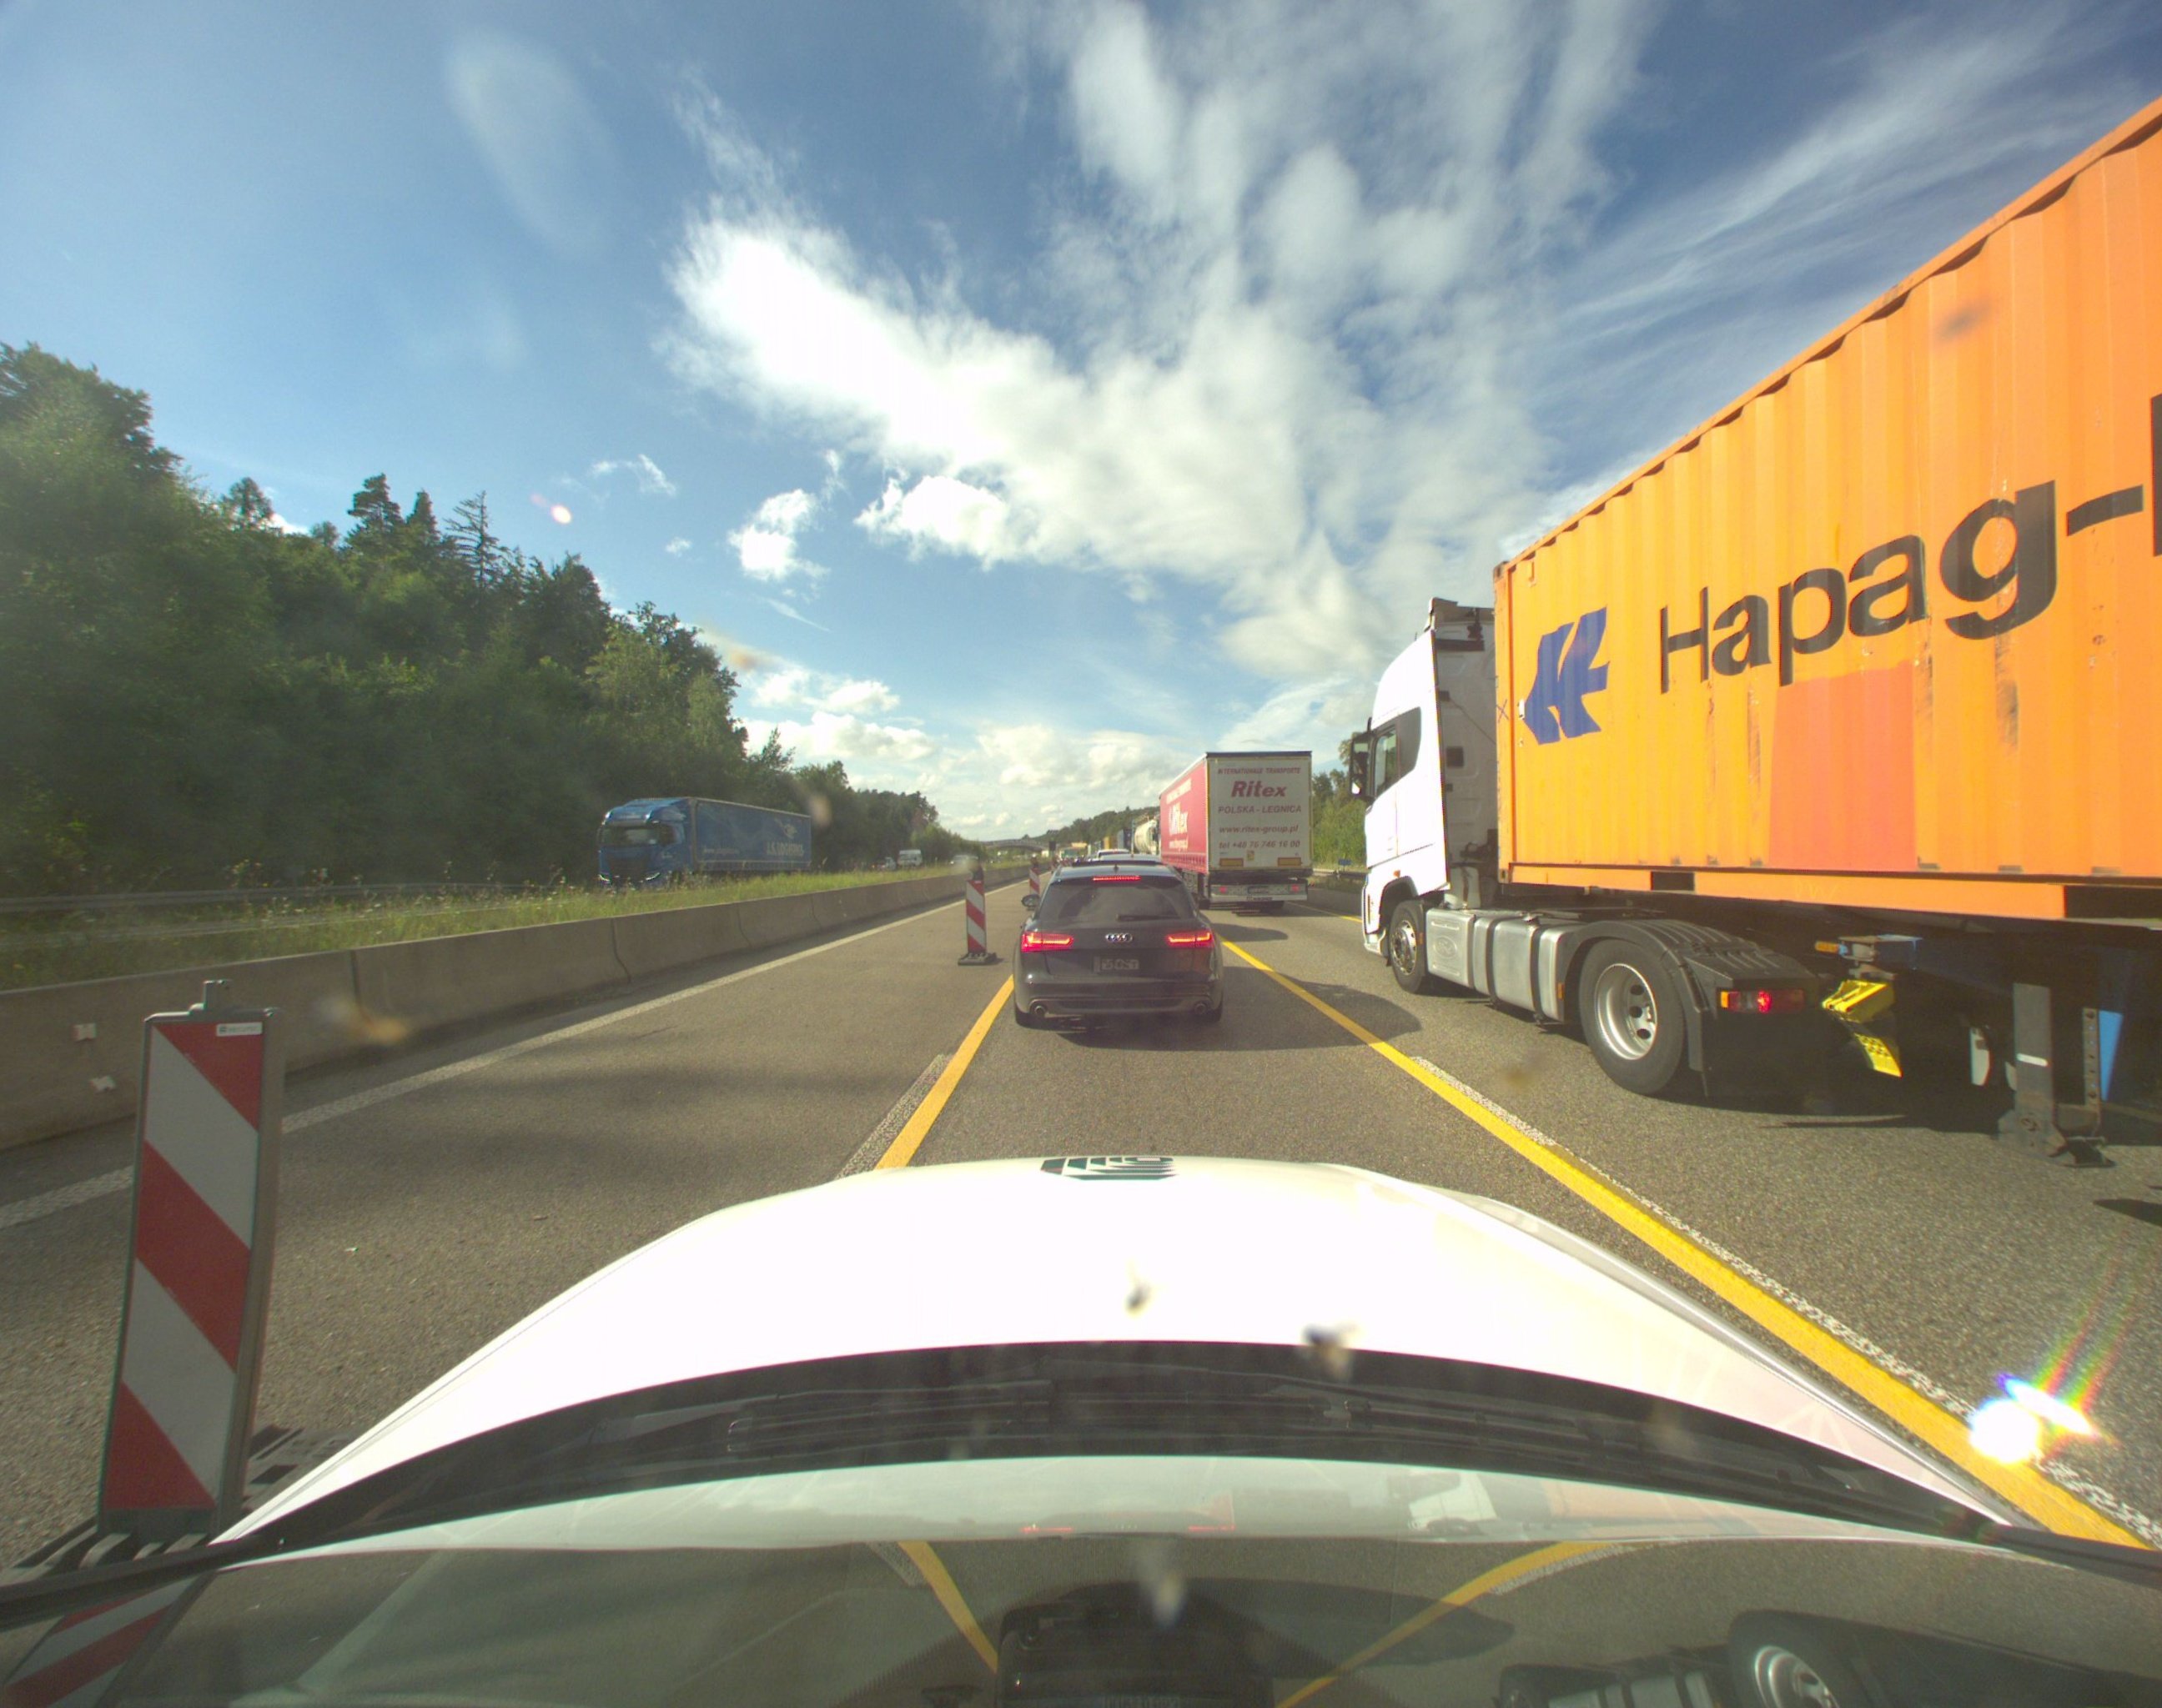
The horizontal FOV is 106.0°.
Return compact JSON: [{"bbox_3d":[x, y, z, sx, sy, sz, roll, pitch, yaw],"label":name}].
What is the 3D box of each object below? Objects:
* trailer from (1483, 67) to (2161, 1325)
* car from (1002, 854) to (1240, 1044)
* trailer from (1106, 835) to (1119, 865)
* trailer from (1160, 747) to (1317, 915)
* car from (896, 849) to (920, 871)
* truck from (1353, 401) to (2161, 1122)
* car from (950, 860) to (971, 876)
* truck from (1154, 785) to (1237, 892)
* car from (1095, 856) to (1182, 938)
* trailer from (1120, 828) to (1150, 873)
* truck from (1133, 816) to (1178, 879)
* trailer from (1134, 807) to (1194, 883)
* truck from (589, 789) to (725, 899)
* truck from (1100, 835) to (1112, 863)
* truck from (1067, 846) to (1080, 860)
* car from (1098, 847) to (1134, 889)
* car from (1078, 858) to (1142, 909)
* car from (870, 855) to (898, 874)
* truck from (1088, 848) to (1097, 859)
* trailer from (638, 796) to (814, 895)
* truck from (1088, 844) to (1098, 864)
[{"bbox_3d":[4.441,-0.481,0.611,2.462,3.775,12.138,-1,0,1],"label":"trailer"},{"bbox_3d":[0.375,0.764,8.384,1.842,1.463,4.001,-1,-1,2],"label":"car"},{"bbox_3d":[4.364,-0.511,112.062,1.611,3.918,6.490,0,-1,1],"label":"trailer"},{"bbox_3d":[4.397,-0.541,26.139,2.690,3.969,13.420,-1,0,1],"label":"trailer"},{"bbox_3d":[-20.833,0.730,98.178,2.247,2.643,5.009,0,-1,-6],"label":"car"},{"bbox_3d":[4.572,-0.479,7.189,2.486,3.780,5.791,-1,0,1],"label":"truck"},{"bbox_3d":[-13.193,1.533,89.236,1.709,1.706,3.524,0,-1,2],"label":"car"},{"bbox_3d":[4.531,-0.570,33.180,2.658,3.959,5.711,-1,0,1],"label":"truck"},{"bbox_3d":[1.060,0.766,15.977,1.518,1.439,3.286,0,-1,2],"label":"car"},{"bbox_3d":[5.528,-0.286,85.030,2.795,4.413,10.436,0,-1,2],"label":"trailer"},{"bbox_3d":[4.948,-0.389,54.840,2.649,3.972,5.780,0,-1,2],"label":"truck"},{"bbox_3d":[4.752,-0.431,48.773,2.634,3.943,12.602,0,0,2],"label":"trailer"},{"bbox_3d":[-17.429,-0.394,33.878,2.628,4.189,5.469,-1,0,2],"label":"truck"},{"bbox_3d":[4.420,-0.824,145.478,1.987,4.914,9.562,-1,0,0],"label":"truck"},{"bbox_3d":[-2.357,-0.319,245.024,3.297,4.175,9.690,-1,-1,-3],"label":"truck"},{"bbox_3d":[1.616,0.632,37.556,1.575,1.837,3.113,0,-1,2],"label":"car"},{"bbox_3d":[0.852,0.818,24.090,1.745,1.397,3.609,0,-1,2],"label":"car"},{"bbox_3d":[-21.341,1.159,88.317,1.986,2.014,4.001,0,-1,2],"label":"car"},{"bbox_3d":[3.351,-0.140,244.021,2.558,3.466,7.398,0,-1,0],"label":"truck"},{"bbox_3d":[-17.204,-0.348,41.101,2.610,4.141,13.378,-1,0,2],"label":"trailer"},{"bbox_3d":[2.650,0.019,178.335,2.130,4.257,7.073,0,-1,1],"label":"truck"}]
